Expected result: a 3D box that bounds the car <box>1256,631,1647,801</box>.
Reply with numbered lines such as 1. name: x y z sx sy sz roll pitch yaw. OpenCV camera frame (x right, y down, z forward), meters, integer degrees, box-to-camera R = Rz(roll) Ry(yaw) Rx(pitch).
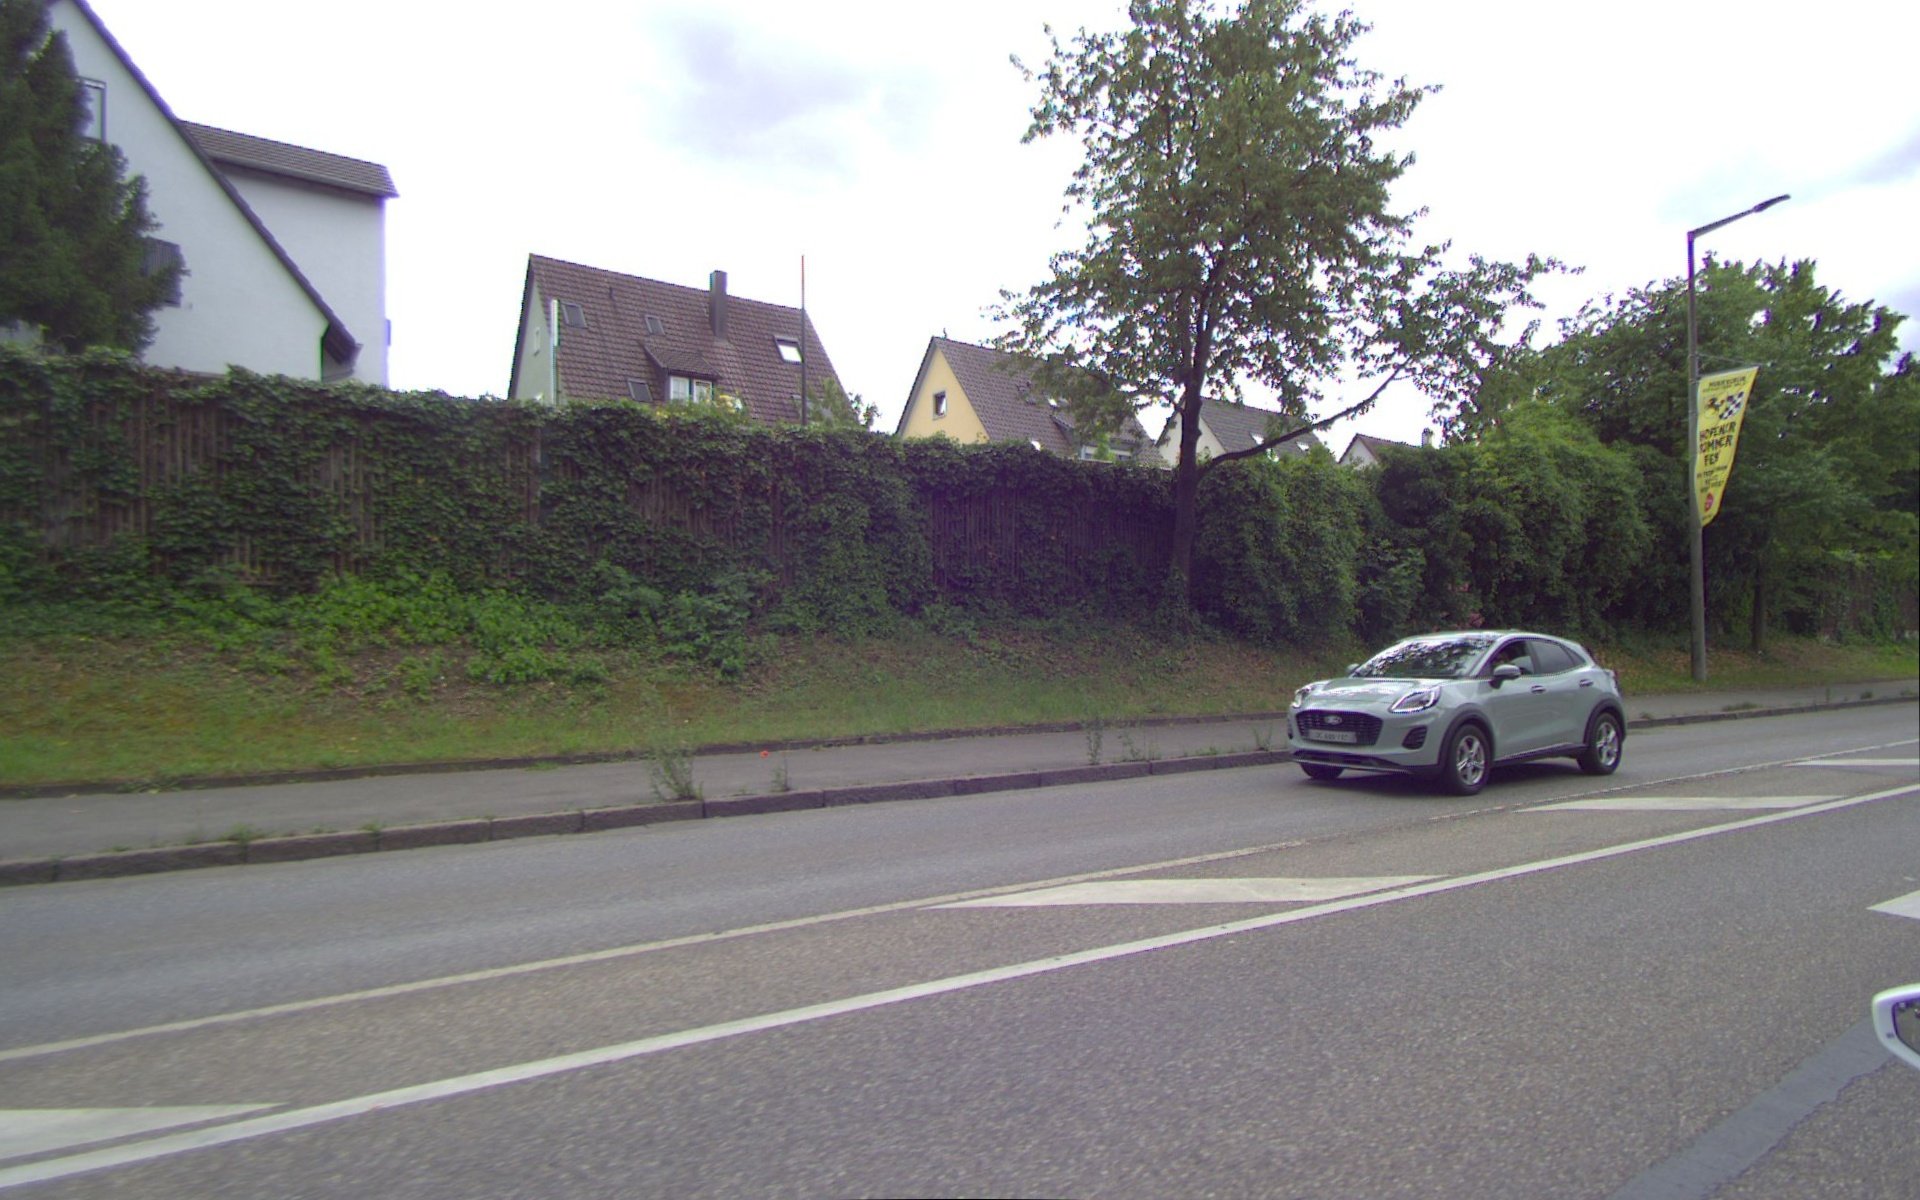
1. car: 5.258 1.094 10.632 4.097 1.476 1.817 1 -4 -32
